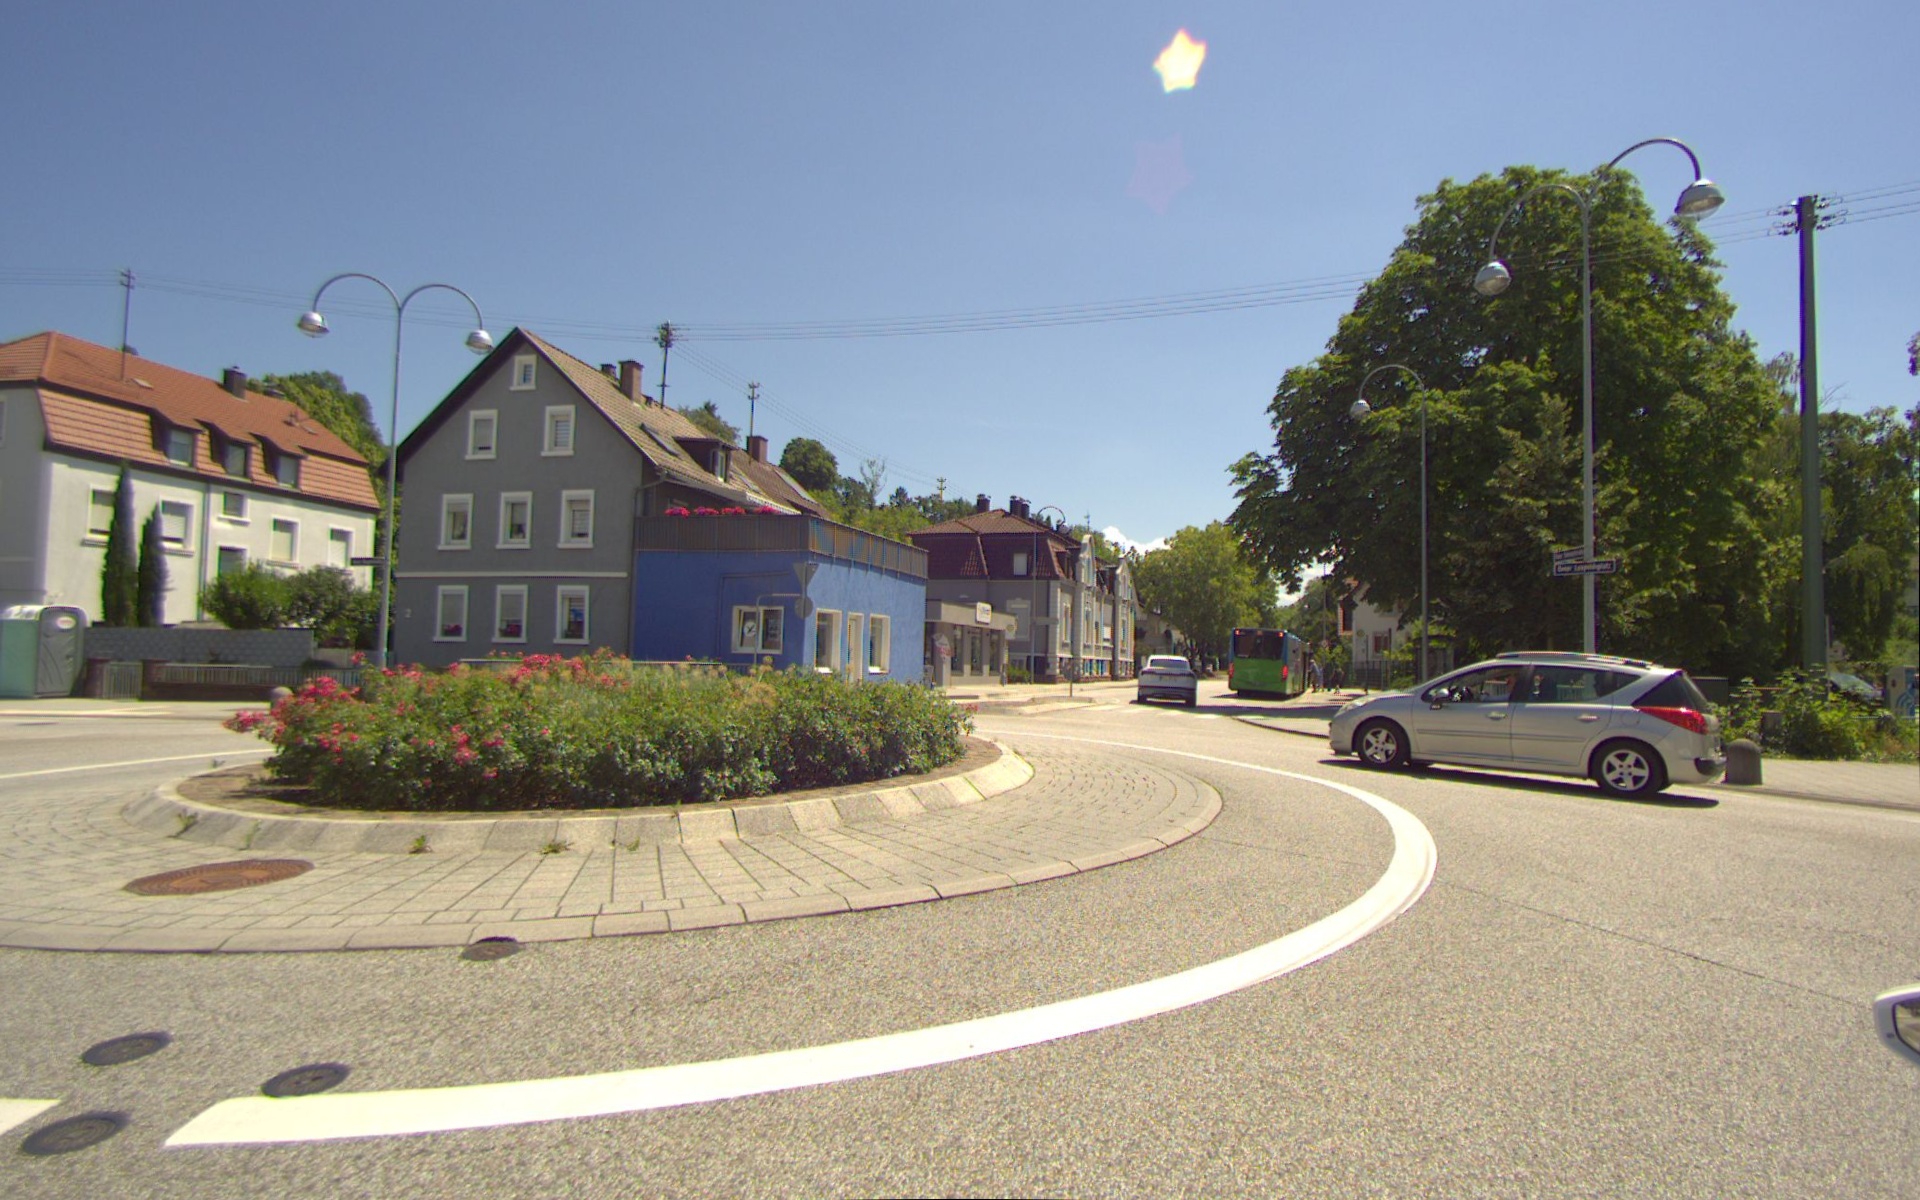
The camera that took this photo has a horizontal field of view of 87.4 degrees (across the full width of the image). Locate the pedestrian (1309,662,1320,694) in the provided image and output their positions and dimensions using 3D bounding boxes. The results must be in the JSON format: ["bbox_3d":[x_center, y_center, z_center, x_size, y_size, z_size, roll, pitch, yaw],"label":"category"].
[{"bbox_3d":[18.753,4.135,53.194,0.494,1.671,0.580,0,-3,15],"label":"pedestrian"}]

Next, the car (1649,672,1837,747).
[{"bbox_3d":[18.072,2.501,23.303,2.997,1.573,1.636,0,-3,7],"label":"car"}]

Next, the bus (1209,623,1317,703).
[{"bbox_3d":[15.995,3.287,51.672,3.646,3.212,18.071,2,-3,22],"label":"bus"}]

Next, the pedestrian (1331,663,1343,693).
[{"bbox_3d":[19.039,3.941,50.727,0.481,1.473,0.531,0,-3,15],"label":"pedestrian"}]

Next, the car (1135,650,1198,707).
[{"bbox_3d":[6.997,2.615,33.989,1.866,1.683,4.413,3,-3,12],"label":"car"}]

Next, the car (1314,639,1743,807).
[{"bbox_3d":[6.574,1.325,11.872,4.146,1.536,1.738,0,-4,41],"label":"car"}]

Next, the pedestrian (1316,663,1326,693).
[{"bbox_3d":[19.314,4.173,53.714,0.480,1.542,0.543,0,-3,15],"label":"pedestrian"}]

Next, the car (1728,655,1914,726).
[{"bbox_3d":[26.922,2.777,31.572,1.969,2.040,3.984,2,-3,-19],"label":"car"}]
